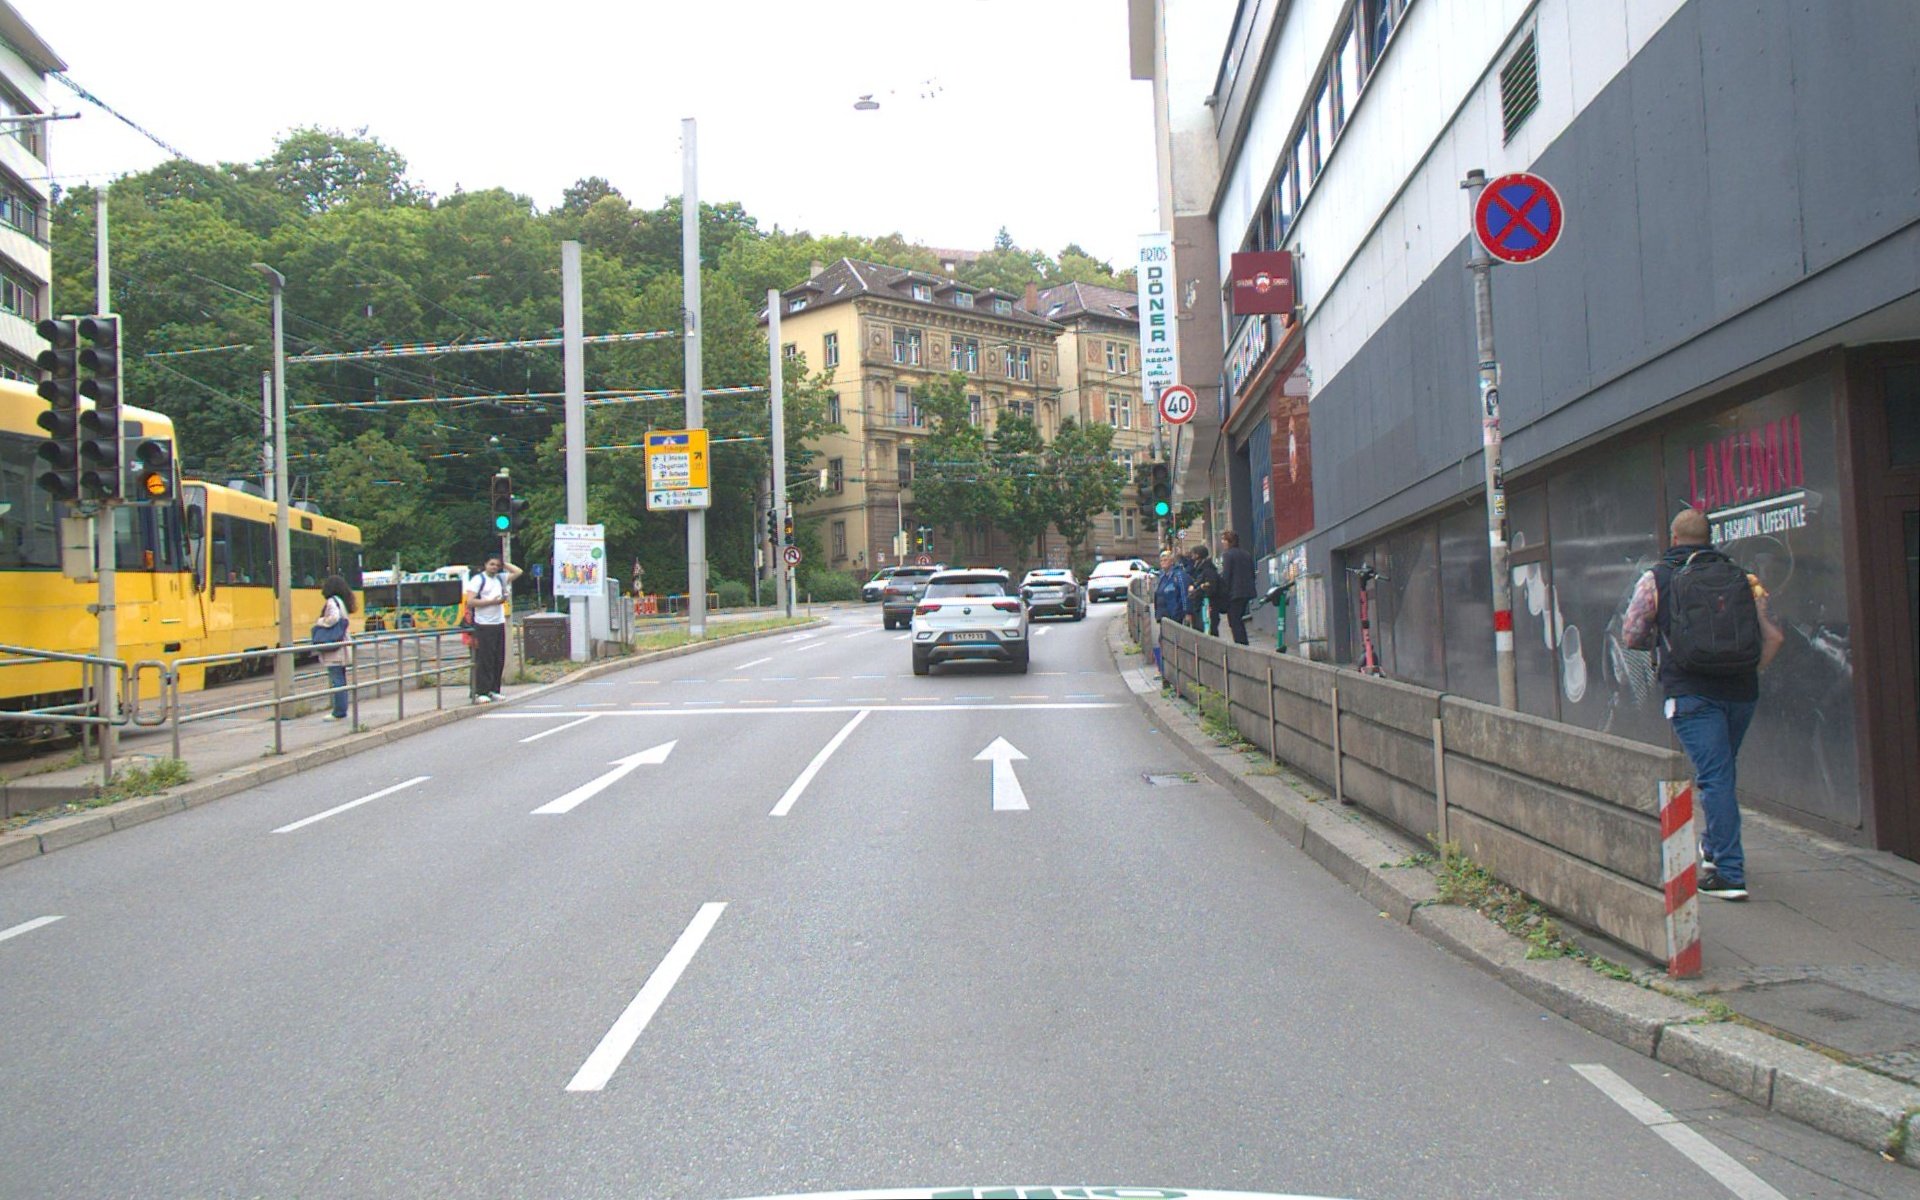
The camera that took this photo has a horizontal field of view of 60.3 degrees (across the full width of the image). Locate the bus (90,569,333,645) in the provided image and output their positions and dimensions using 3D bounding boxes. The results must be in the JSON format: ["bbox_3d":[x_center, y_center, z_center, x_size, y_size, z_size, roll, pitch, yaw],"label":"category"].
[{"bbox_3d":[-36.738,0.337,81.222,11.084,3.096,3.327,-3,1,14],"label":"bus"}]

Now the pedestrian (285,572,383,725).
[{"bbox_3d":[-7.029,0.526,18.614,0.662,1.653,1.001,-3,0,-1],"label":"pedestrian"}]

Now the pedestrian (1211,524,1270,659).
[{"bbox_3d":[3.877,-0.121,22.921,0.711,1.839,0.654,-1,1,3],"label":"pedestrian"}]

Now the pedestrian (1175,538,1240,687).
[{"bbox_3d":[3.101,0.153,20.784,0.722,1.825,0.655,-1,1,3],"label":"pedestrian"}]

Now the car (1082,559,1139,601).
[{"bbox_3d":[5.753,-0.769,63.493,1.898,1.532,3.807,-2,1,2],"label":"car"}]

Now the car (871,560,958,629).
[{"bbox_3d":[-1.193,-0.169,45.085,1.800,1.770,4.003,-1,0,7],"label":"car"}]

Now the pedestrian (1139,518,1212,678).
[{"bbox_3d":[2.877,-0.028,22.155,0.926,2.098,0.779,0,1,3],"label":"pedestrian"}]

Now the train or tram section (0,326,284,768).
[{"bbox_3d":[-9.461,-0.388,12.721,2.823,3.727,14.472,-2,1,-2],"label":"train or tram section"}]

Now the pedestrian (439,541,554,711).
[{"bbox_3d":[-6.015,0.353,21.504,0.946,2.103,1.032,-4,-3,19],"label":"pedestrian"}]

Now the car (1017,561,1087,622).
[{"bbox_3d":[2.599,-0.258,46.307,1.863,1.601,3.836,-1,0,4],"label":"car"}]

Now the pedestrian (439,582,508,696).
[{"bbox_3d":[-6.607,0.539,22.471,0.564,1.489,0.676,-4,-3,19],"label":"pedestrian"}]

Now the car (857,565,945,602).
[{"bbox_3d":[-3.178,-0.910,89.849,1.963,1.882,4.966,-2,-1,40],"label":"car"}]

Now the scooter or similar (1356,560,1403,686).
[{"bbox_3d":[4.502,0.229,17.789,0.418,1.298,0.981,-2,1,13],"label":"scooter or similar"}]

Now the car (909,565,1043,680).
[{"bbox_3d":[0.281,0.300,26.065,1.898,1.594,4.047,-2,1,1],"label":"car"}]

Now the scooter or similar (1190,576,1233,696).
[{"bbox_3d":[2.793,0.387,18.393,0.346,1.298,0.814,-2,1,2],"label":"scooter or similar"}]

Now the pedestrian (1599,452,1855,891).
[{"bbox_3d":[3.365,0.294,7.328,0.705,1.817,0.883,-1,0,1],"label":"pedestrian"}]

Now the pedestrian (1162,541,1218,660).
[{"bbox_3d":[3.388,0.004,24.406,0.550,1.679,0.591,-8,0,3],"label":"pedestrian"}]

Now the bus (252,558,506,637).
[{"bbox_3d":[-27.711,-0.147,78.979,11.266,3.081,3.393,-3,1,13],"label":"bus"}]
